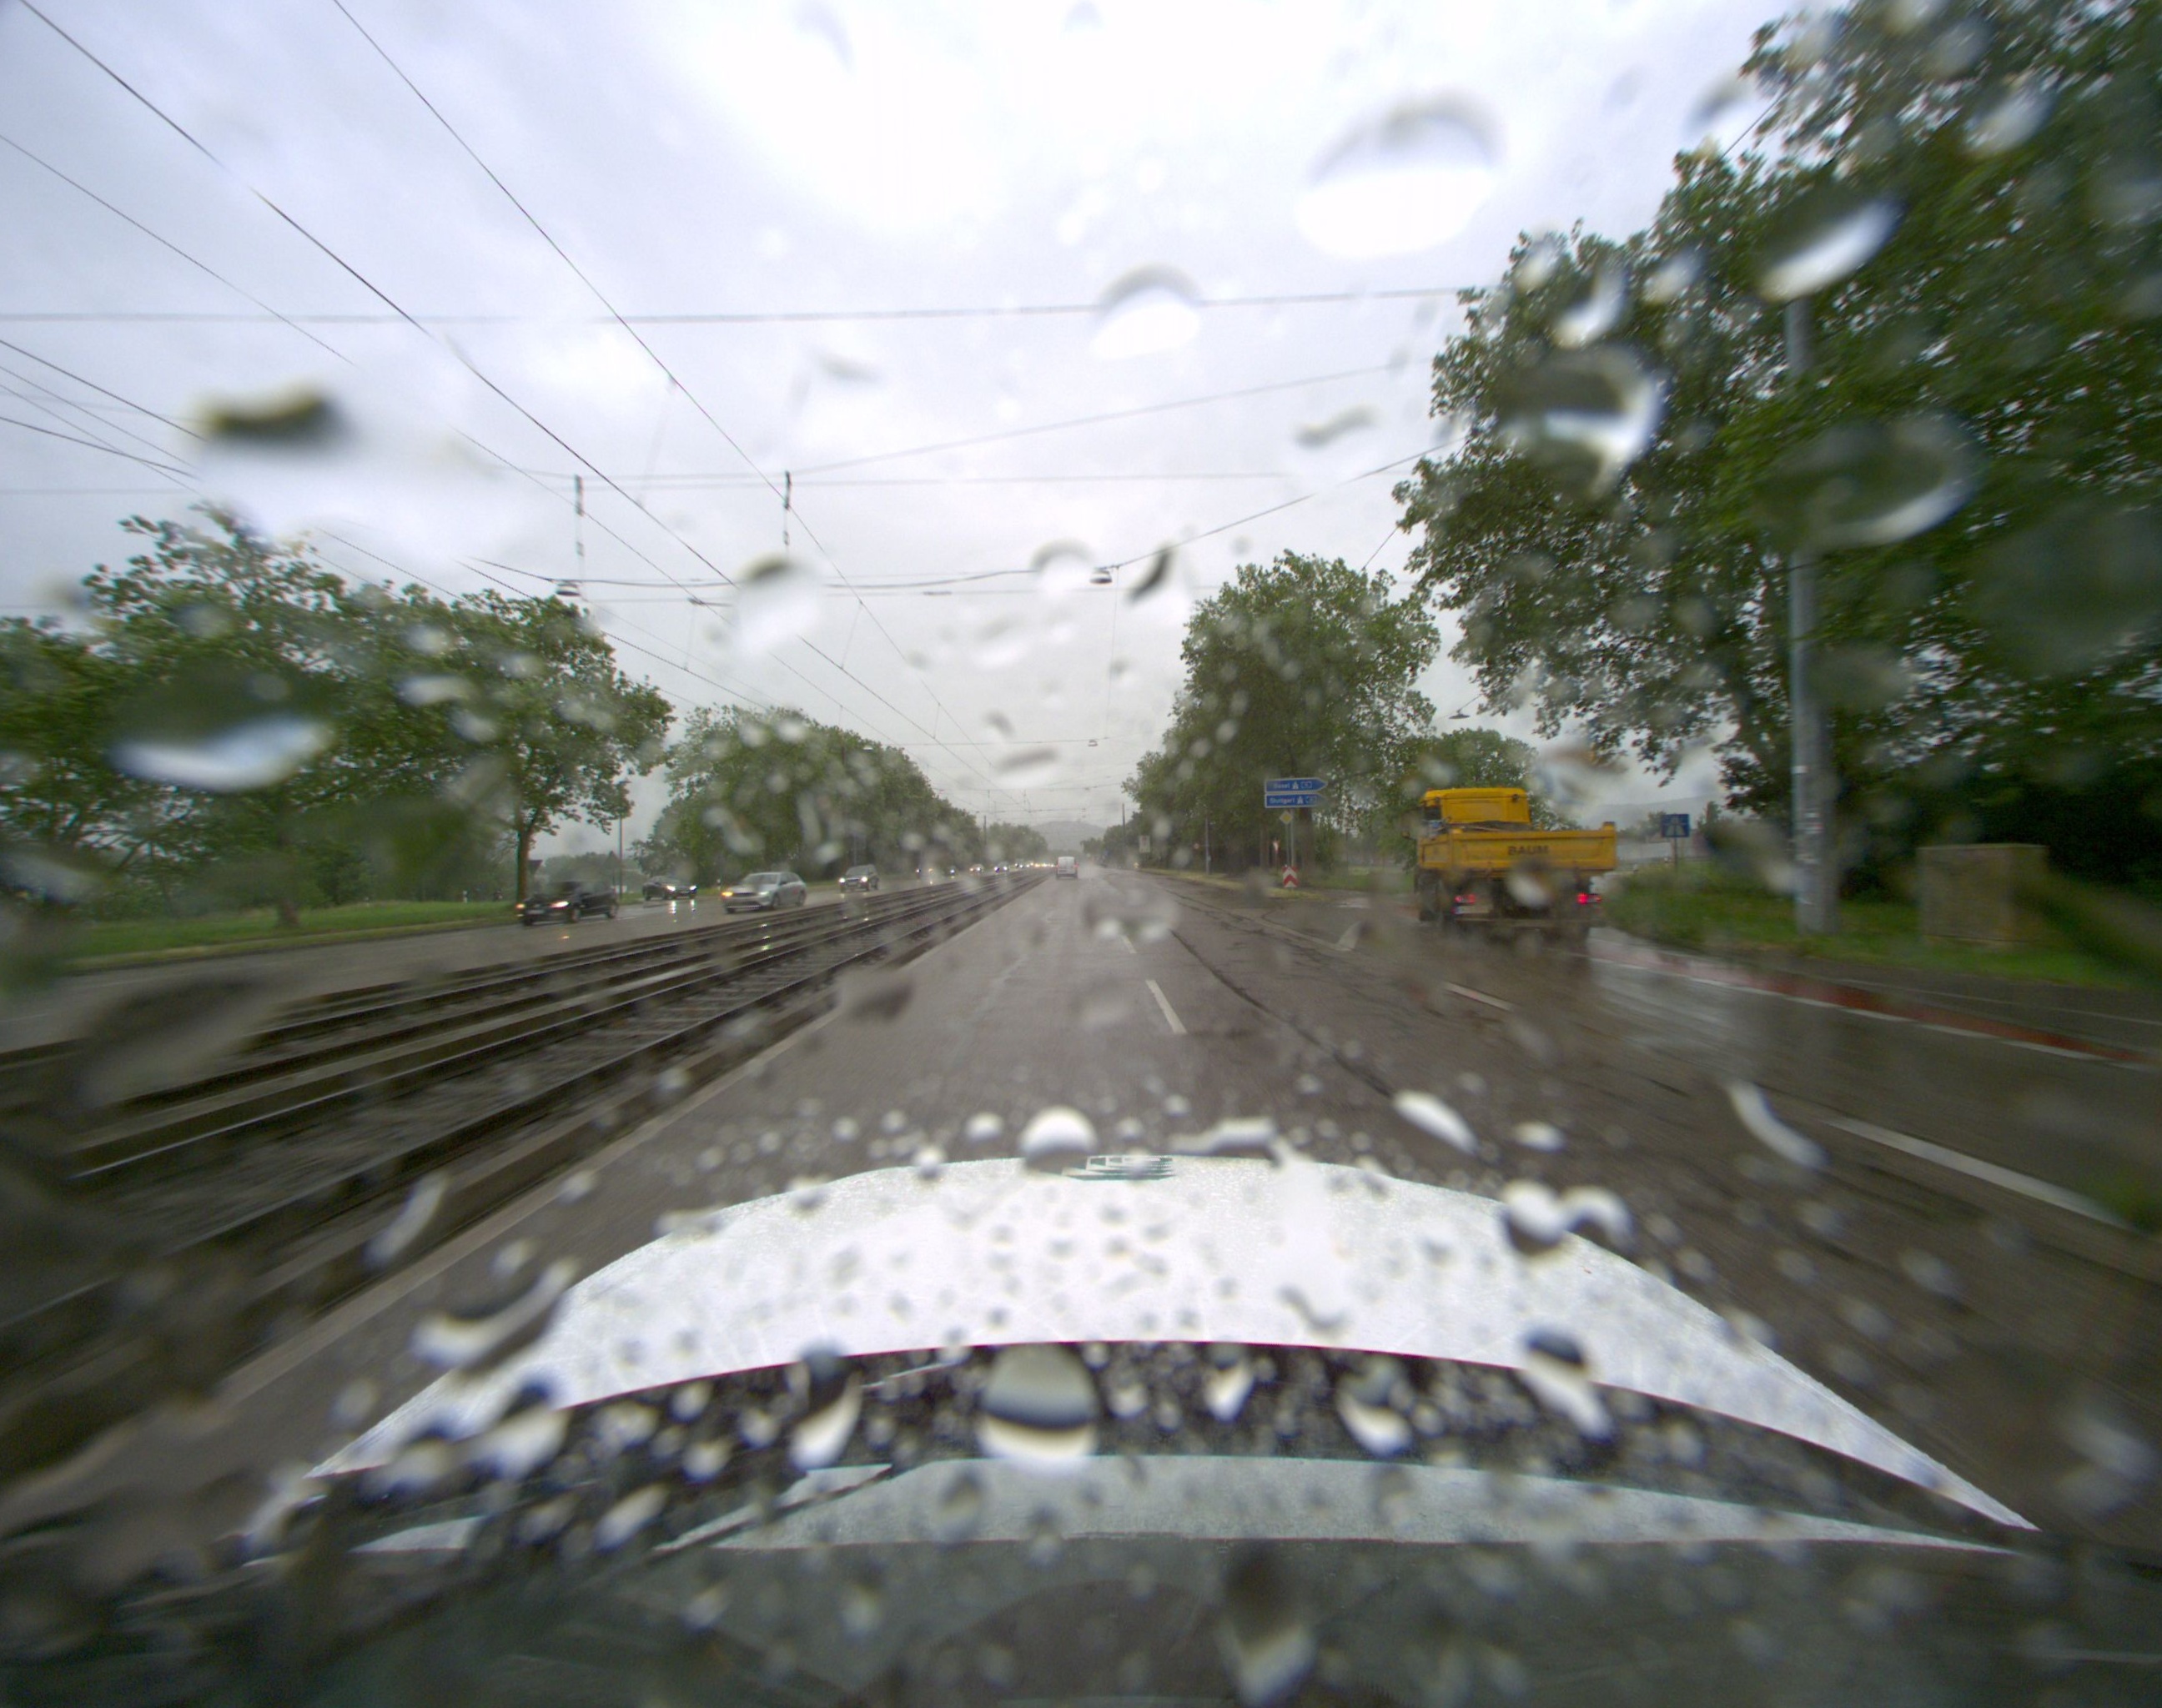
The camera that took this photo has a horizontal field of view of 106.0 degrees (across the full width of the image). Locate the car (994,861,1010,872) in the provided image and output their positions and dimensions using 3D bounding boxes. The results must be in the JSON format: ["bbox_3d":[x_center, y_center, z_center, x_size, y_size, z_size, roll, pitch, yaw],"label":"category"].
[{"bbox_3d":[-11.943,1.883,124.053,1.784,1.549,5.315,0,1,1],"label":"car"}]

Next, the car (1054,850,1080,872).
[{"bbox_3d":[-1.094,0.533,66.228,1.982,1.684,3.741,0,1,1],"label":"car"}]

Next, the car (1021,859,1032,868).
[{"bbox_3d":[-11.159,1.958,167.101,1.770,1.585,5.680,0,1,0],"label":"car"}]

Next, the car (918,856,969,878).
[{"bbox_3d":[-16.138,1.436,95.646,2.309,2.425,5.886,0,1,38],"label":"car"}]

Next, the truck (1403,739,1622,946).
[{"bbox_3d":[8.259,-0.224,16.533,2.536,3.257,6.962,0,1,16],"label":"truck"}]

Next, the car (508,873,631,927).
[{"bbox_3d":[-17.328,1.511,27.834,1.684,1.552,3.999,0,1,-1],"label":"car"}]

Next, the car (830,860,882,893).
[{"bbox_3d":[-13.455,1.298,48.992,1.882,1.809,5.001,0,1,-2],"label":"car"}]

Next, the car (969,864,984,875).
[{"bbox_3d":[-17.663,2.532,138.069,1.814,1.706,5.020,0,1,0],"label":"car"}]

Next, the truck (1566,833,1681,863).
[{"bbox_3d":[96.039,-1.021,144.696,16.560,4.159,3.312,-4,-2,30],"label":"truck"}]

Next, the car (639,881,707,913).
[{"bbox_3d":[-25.060,2.581,50.006,4.590,1.686,1.859,0,1,36],"label":"car"}]

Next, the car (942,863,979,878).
[{"bbox_3d":[-16.228,2.174,109.886,2.063,1.798,4.794,0,1,39],"label":"car"}]

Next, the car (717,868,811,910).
[{"bbox_3d":[-11.796,1.260,30.671,1.736,1.354,4.545,0,1,0],"label":"car"}]
